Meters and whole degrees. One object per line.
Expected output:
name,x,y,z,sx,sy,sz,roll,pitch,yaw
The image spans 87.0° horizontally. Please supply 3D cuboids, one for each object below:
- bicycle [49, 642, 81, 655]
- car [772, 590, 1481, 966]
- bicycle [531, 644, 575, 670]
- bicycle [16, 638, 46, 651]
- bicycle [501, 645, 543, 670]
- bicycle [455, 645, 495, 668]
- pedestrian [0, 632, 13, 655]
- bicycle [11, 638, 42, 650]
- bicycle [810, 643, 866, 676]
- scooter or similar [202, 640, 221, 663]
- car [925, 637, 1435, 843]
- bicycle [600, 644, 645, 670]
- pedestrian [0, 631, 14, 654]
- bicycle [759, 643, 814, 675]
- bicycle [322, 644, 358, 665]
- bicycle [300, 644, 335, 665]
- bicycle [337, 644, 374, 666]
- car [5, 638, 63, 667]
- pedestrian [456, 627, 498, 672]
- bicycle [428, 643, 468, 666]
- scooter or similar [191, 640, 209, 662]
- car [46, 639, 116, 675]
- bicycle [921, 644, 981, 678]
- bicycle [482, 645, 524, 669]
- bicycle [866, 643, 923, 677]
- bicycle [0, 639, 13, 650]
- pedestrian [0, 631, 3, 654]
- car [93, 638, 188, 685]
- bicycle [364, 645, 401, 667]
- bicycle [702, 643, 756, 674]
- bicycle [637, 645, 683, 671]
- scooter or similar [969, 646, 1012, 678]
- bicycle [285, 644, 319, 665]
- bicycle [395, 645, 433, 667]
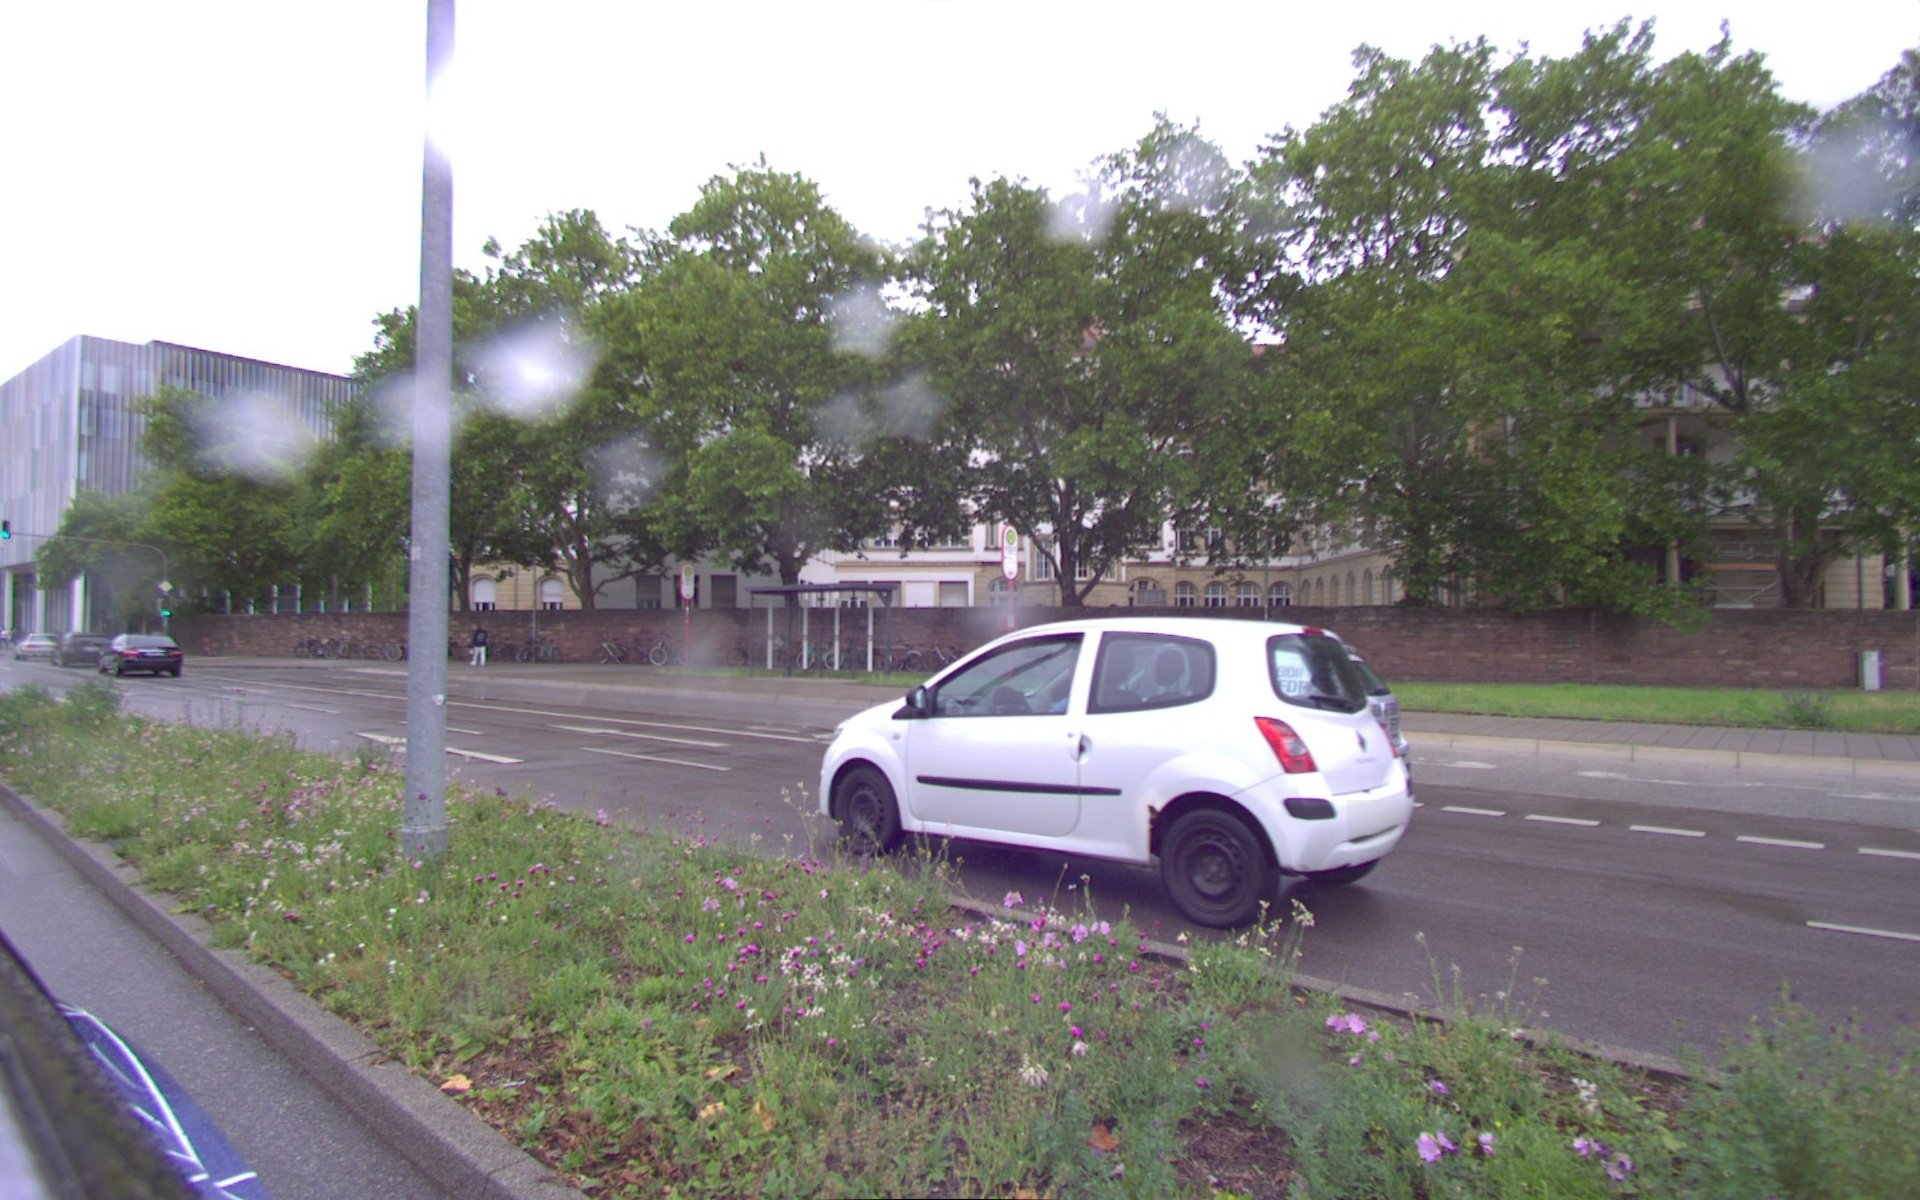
bicycle,-86.944,4.669,98.366,0.596,1.231,2.265,-1,-3,27
car,0.758,0.797,6.014,3.867,1.513,1.661,-2,-4,42
bicycle,-16.342,2.289,40.652,1.694,0.990,0.726,-1,-2,29
bicycle,-94.907,4.536,103.416,2.250,1.231,0.600,2,-3,-41
bicycle,-18.206,2.380,42.085,1.694,0.990,0.726,-1,-2,29
bicycle,-20.886,2.427,43.594,1.694,0.990,0.726,-1,-2,29
pedestrian,-76.932,3.468,81.237,0.915,1.838,0.934,-1,-3,16
bicycle,-96.578,4.591,104.719,2.250,1.231,0.600,2,-3,-41
bicycle,-4.354,2.103,36.091,1.979,1.144,0.570,-1,-3,24
scooter or similar,-41.537,2.847,56.172,1.139,1.206,0.388,-2,4,33
car,1.768,1.050,8.999,4.156,1.415,1.661,-2,-4,42
bicycle,-13.271,2.242,39.789,1.694,0.990,0.726,-1,-2,29
pedestrian,-75.503,3.354,80.015,0.619,1.838,0.783,-1,-3,16
bicycle,-6.302,2.131,36.756,1.976,1.144,0.571,-1,-3,20
bicycle,-30.045,2.655,49.040,1.694,0.990,0.726,-1,-2,29
bicycle,-31.613,2.686,49.763,1.694,0.990,0.726,-1,-2,29
bicycle,-28.423,2.594,47.581,1.859,0.990,0.725,-1,-2,33
car,-46.983,2.654,51.299,4.521,1.426,1.579,-2,-4,41
pedestrian,-18.830,1.911,39.441,1.396,1.708,0.861,-2,-3,34
bicycle,-22.453,2.377,44.364,1.694,0.990,0.726,-1,-2,29
scooter or similar,-43.017,2.891,57.247,1.139,1.206,0.387,-1,4,35
car,-37.302,2.396,42.933,4.063,1.426,1.607,-2,-4,41
bicycle,-0.311,2.065,34.629,1.979,1.144,0.570,-1,-3,24
bicycle,-19.340,2.410,42.817,1.694,0.990,0.726,-1,-2,29
bicycle,-2.284,2.065,35.176,1.979,1.144,0.570,-1,-3,24
bicycle,-107.166,4.927,112.778,2.250,1.231,0.600,2,-3,-41
pedestrian,-76.528,3.376,80.212,0.619,1.838,0.783,-1,-3,16
car,-29.415,2.177,36.291,4.700,1.552,1.790,-2,-4,41
bicycle,-26.712,2.562,46.794,1.694,0.990,0.726,-1,-2,29
bicycle,-8.563,2.165,37.560,1.976,1.144,0.571,-1,-3,20
bicycle,-11.474,2.214,38.742,1.694,0.990,0.726,-1,-2,29
scooter or similar,1.025,2.090,34.085,1.354,1.055,0.569,-1,-3,24
bicycle,-33.181,2.739,51.039,1.694,0.990,0.726,-1,-2,29
bicycle,-24.759,2.523,45.874,1.694,0.990,0.726,-1,-2,29
